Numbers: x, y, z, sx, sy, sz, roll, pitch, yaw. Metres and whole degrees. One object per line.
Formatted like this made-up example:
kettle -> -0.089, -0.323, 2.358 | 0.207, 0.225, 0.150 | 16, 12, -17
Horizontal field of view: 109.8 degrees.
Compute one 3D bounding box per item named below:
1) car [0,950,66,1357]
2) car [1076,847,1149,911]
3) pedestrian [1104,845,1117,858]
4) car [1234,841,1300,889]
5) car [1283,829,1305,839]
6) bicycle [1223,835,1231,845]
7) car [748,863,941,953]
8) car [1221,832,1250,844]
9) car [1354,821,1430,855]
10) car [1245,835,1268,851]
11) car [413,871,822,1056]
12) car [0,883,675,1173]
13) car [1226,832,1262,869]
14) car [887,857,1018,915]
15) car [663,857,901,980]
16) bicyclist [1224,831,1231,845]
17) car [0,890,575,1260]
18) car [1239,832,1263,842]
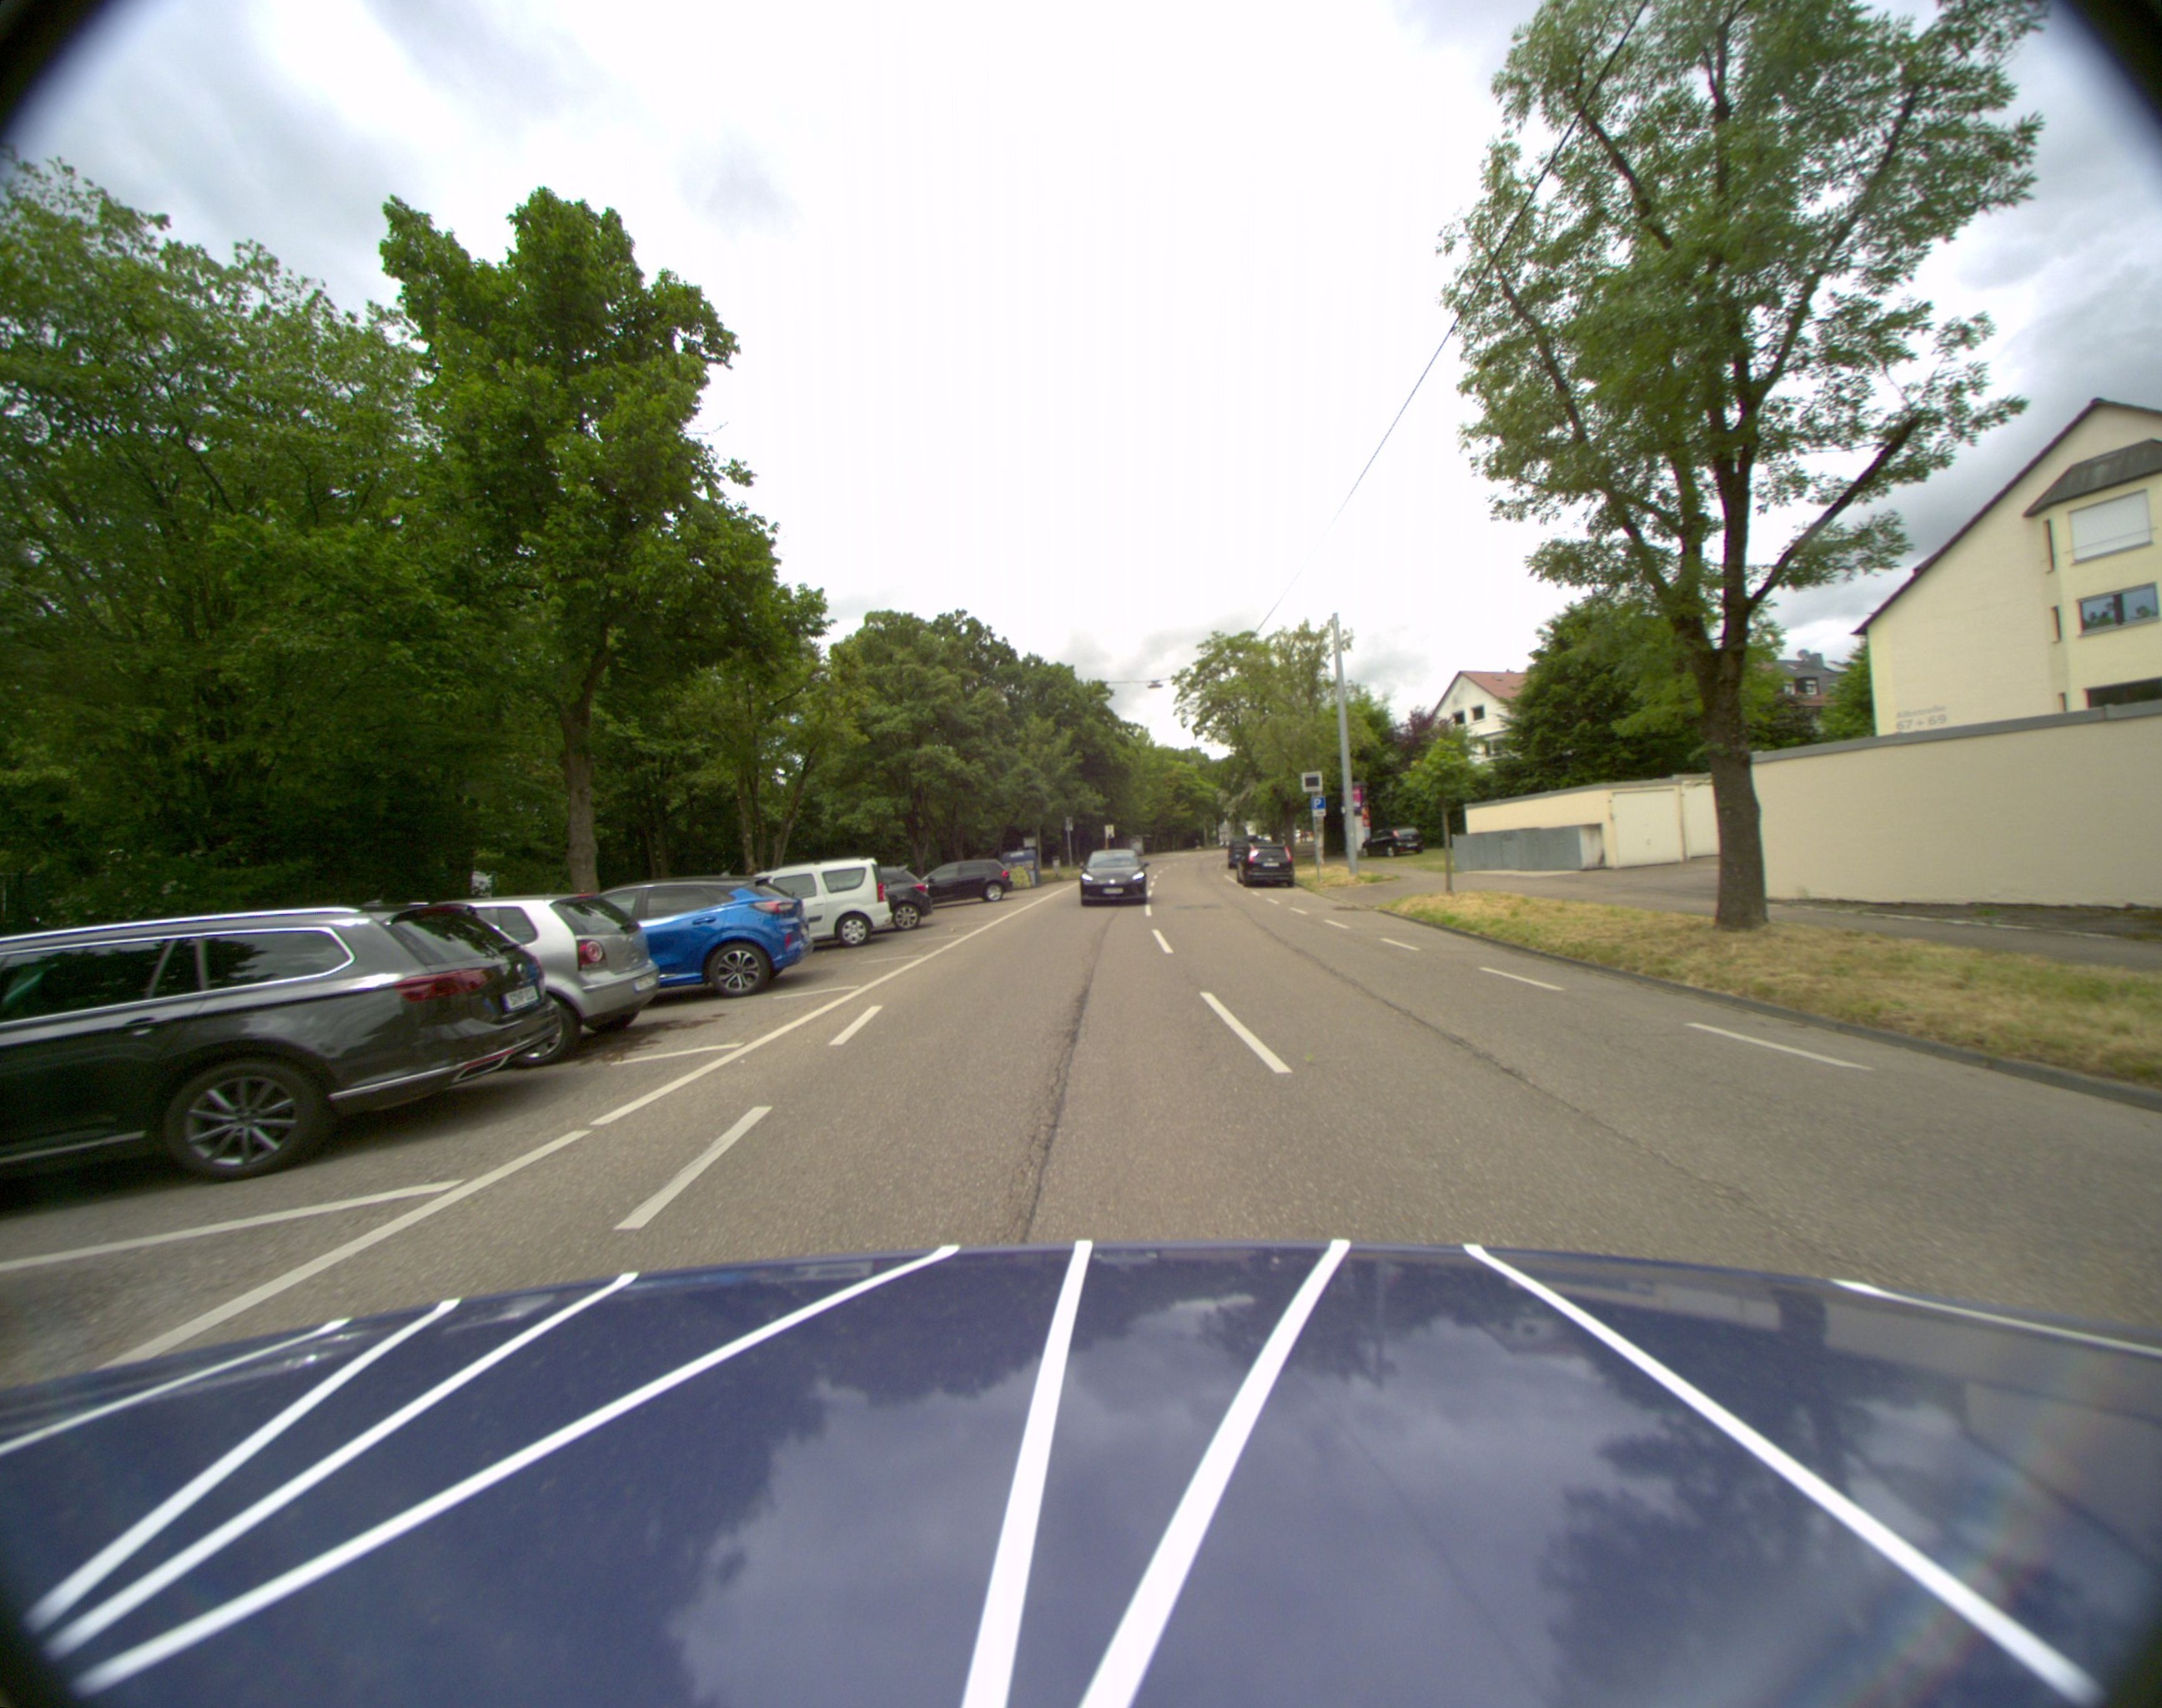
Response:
car -> -5.613, 1.278, 1.549 | 3.886, 1.418, 1.828 | -7, 2, -12
car -> 0.968, 0.638, 21.775 | 1.812, 1.484, 3.793 | -4, 1, 5
pedestrian -> 2.893, -0.221, 74.496 | 1.065, 1.175, 0.580 | -3, 1, 14
car -> 6.718, 0.344, 27.824 | 1.808, 1.554, 4.268 | 0, 1, 7
car -> 47.730, -4.502, 170.301 | 4.218, 1.748, 1.859 | -5, 1, 4
bicycle -> 18.972, -1.781, 98.656 | 0.647, 1.230, 1.879 | -4, 1, 18
car -> -5.194, 1.161, 17.169 | 3.831, 1.459, 1.745 | -7, 0, -10
car -> 25.400, -2.609, 124.792 | 4.475, 1.576, 1.908 | -5, 1, 16
car -> 16.182, -0.806, 39.749 | 1.779, 1.469, 3.987 | -7, 1, -8
car -> 17.766, -1.125, 76.820 | 1.737, 1.529, 4.194 | -2, 1, 19
car -> -5.401, 1.203, 9.441 | 3.832, 1.520, 1.744 | -7, 2, -14
car -> -5.967, 1.270, 6.609 | 3.832, 1.520, 1.744 | -7, 2, -14
car -> 9.428, -0.252, 44.200 | 1.861, 1.898, 5.086 | -3, 1, 11
car -> -4.359, 1.045, 25.507 | 4.001, 1.406, 2.055 | -7, 1, -16
car -> -5.489, 1.119, 14.489 | 3.832, 1.710, 1.876 | -7, 1, -14
bicyclist -> 19.125, -2.087, 99.194 | 0.646, 1.769, 0.628 | -3, 2, 17
car -> -5.628, 1.243, 4.535 | 3.832, 1.520, 1.744 | -7, 2, -14
car -> 30.493, -3.092, 136.414 | 3.996, 1.455, 1.866 | -5, 1, 4
